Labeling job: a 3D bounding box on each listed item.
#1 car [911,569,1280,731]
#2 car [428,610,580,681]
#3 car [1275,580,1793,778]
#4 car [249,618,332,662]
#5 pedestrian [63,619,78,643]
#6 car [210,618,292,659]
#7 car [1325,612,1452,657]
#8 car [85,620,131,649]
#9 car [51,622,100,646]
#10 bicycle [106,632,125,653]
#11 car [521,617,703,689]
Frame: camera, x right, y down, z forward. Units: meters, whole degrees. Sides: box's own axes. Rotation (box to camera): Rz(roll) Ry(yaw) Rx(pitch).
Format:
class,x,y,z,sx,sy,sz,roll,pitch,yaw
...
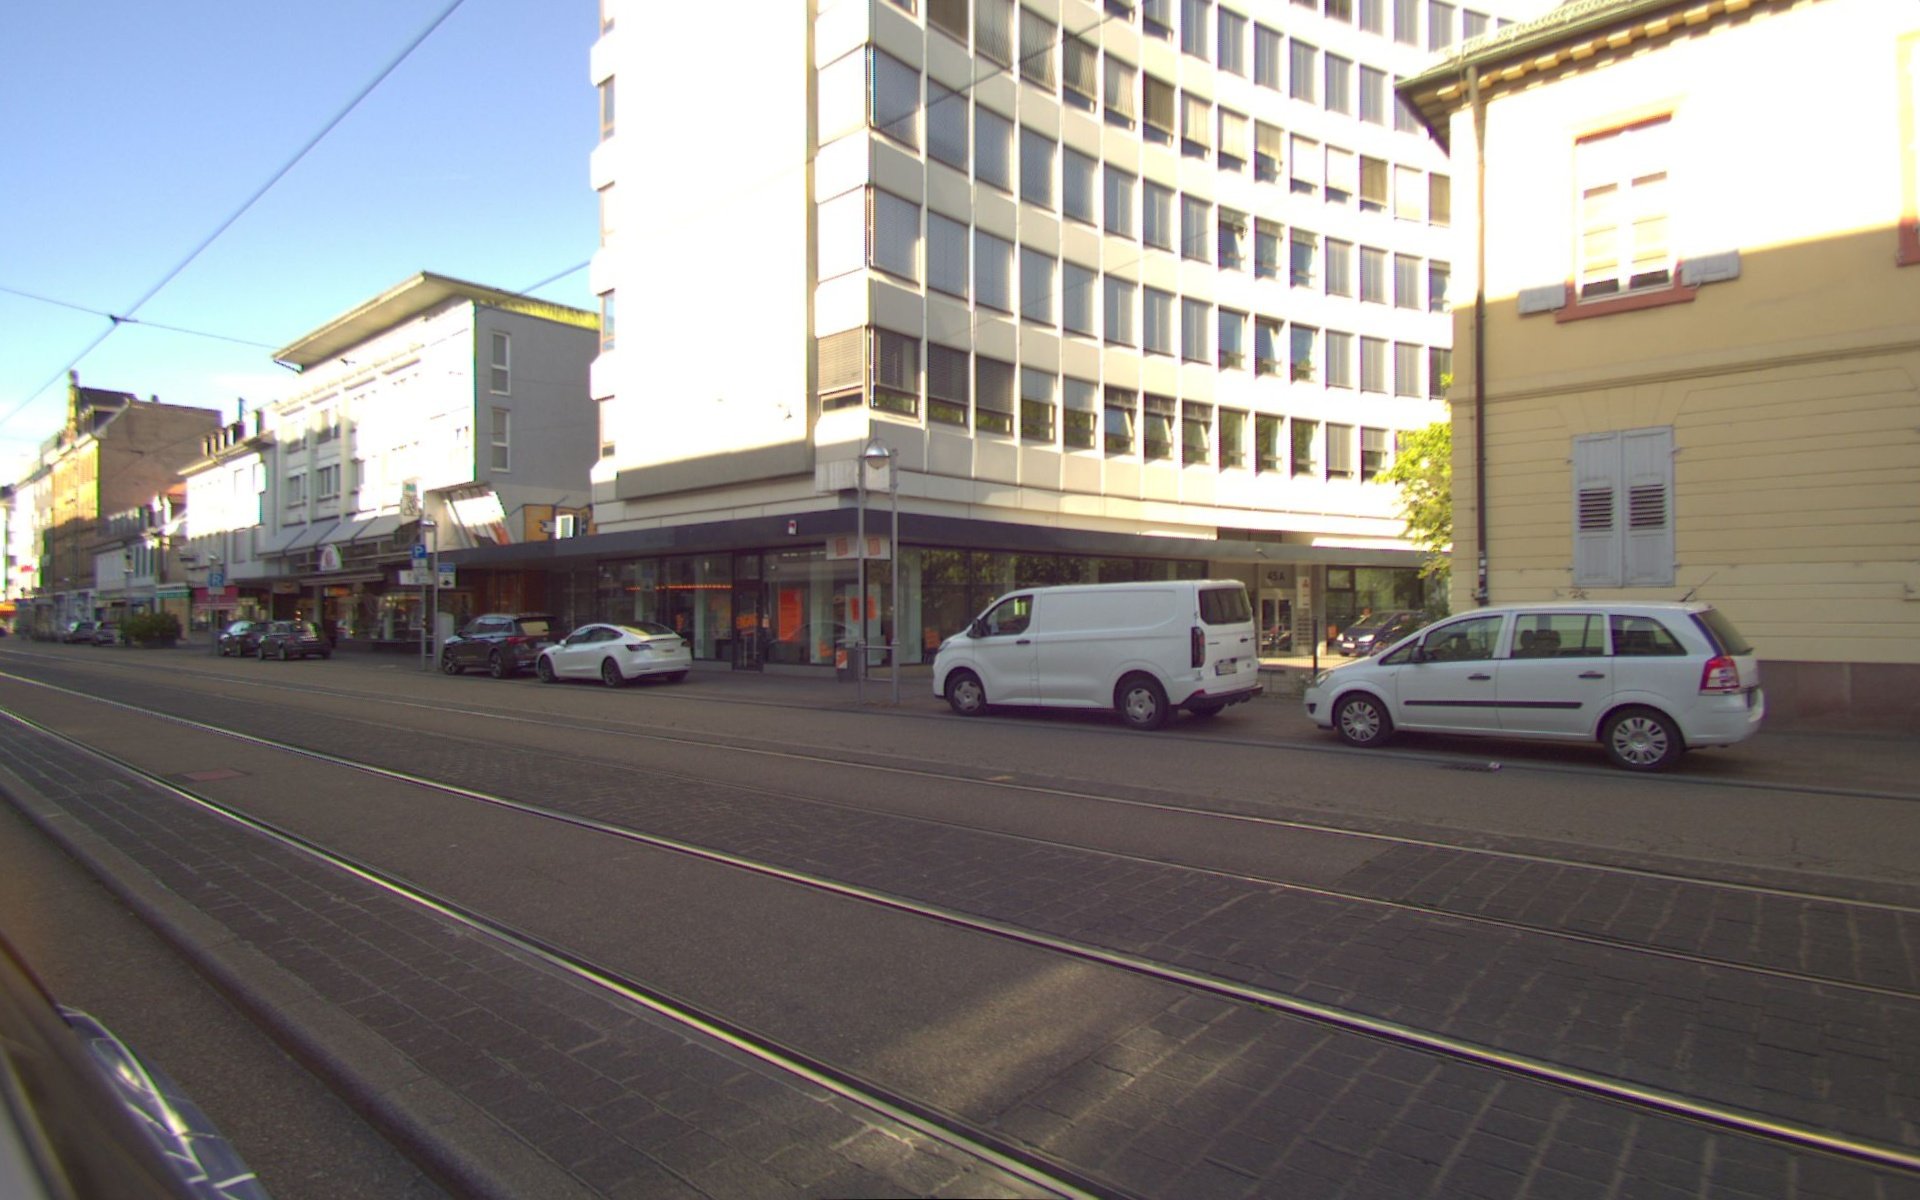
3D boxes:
class,x,y,z,sx,sy,sz,roll,pitch,yaw
car,1.832,0.617,14.866,5.093,1.990,1.973,-1,1,41
car,-12.334,1.155,27.256,4.653,1.691,1.958,-1,1,41
car,6.068,0.698,11.122,4.649,1.698,1.788,-1,1,44
car,-25.694,1.501,38.803,3.585,1.535,1.585,-1,1,38
pedestrian,-65.393,2.271,74.374,0.580,1.775,0.651,-1,1,33
car,-30.125,1.586,42.944,4.850,1.535,1.719,-1,1,42
car,14.491,1.124,34.215,3.931,1.431,1.831,0,0,-27
car,-51.949,2.078,61.707,2.889,1.616,1.680,-1,1,41
car,-59.130,2.255,67.635,4.760,1.525,1.798,-1,0,41
bicycle,-47.133,2.372,56.474,1.715,1.098,0.513,-1,1,41
car,-8.234,1.168,23.735,4.652,1.431,1.869,-1,1,40
